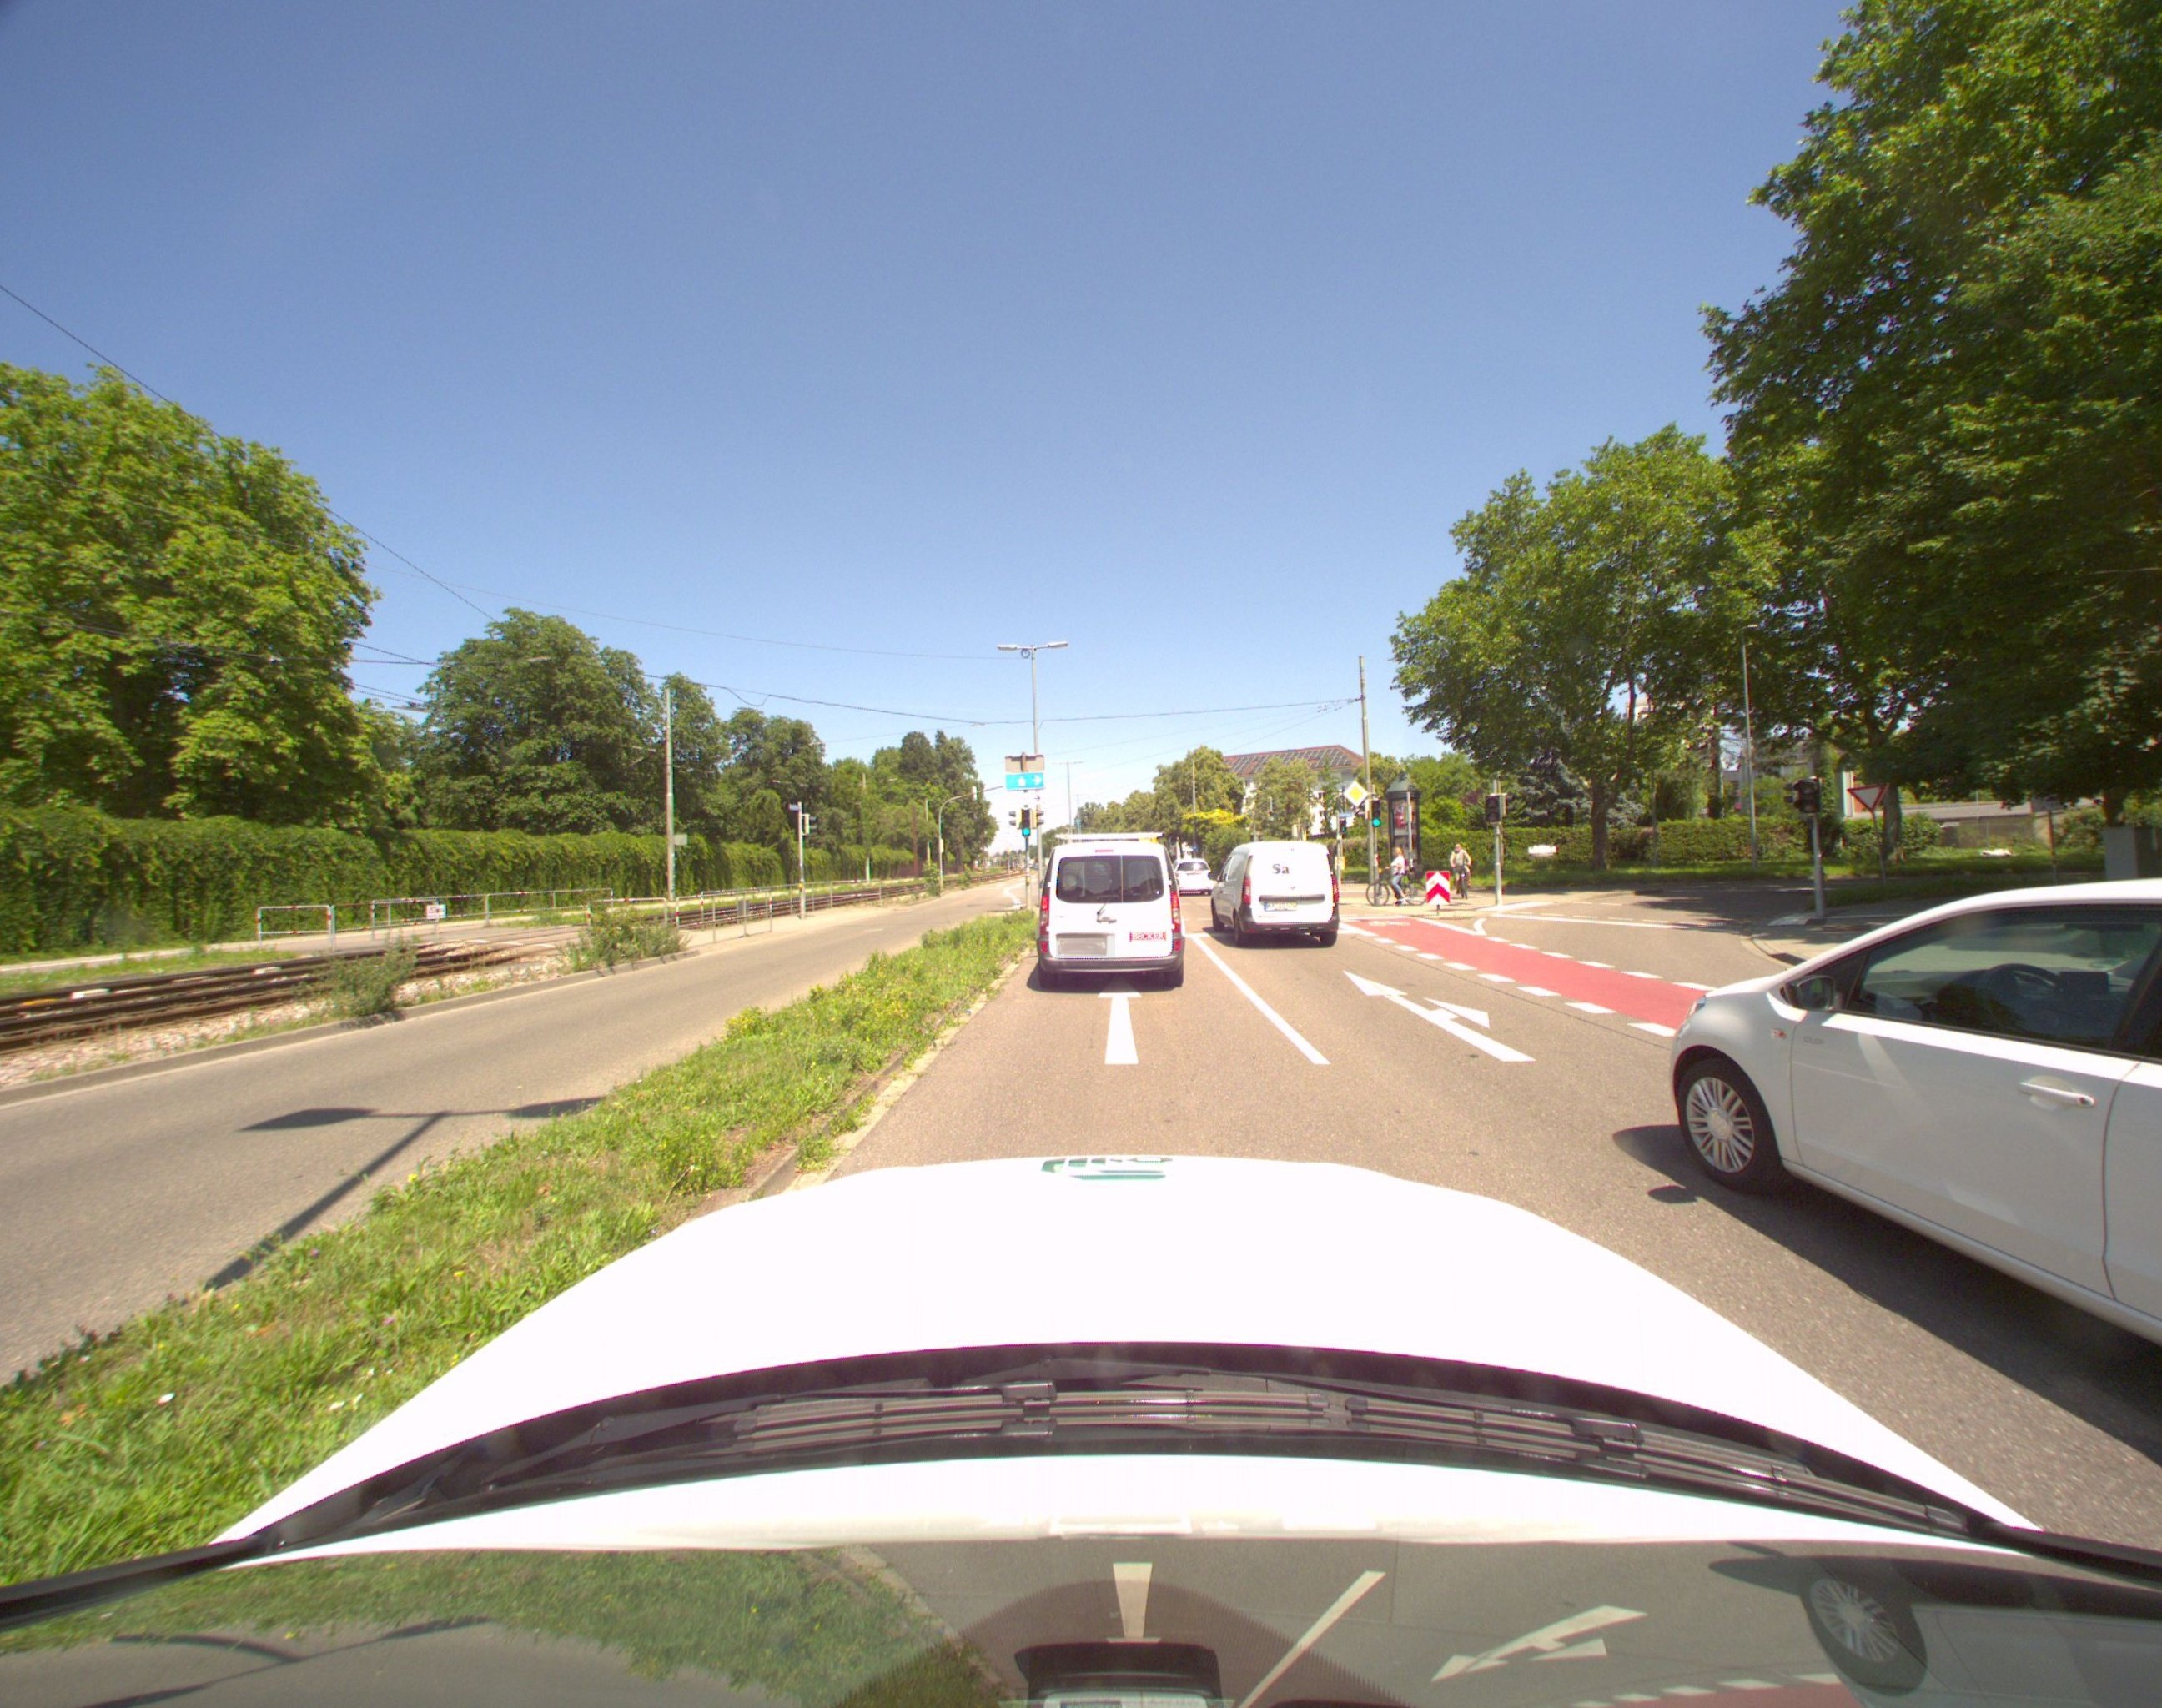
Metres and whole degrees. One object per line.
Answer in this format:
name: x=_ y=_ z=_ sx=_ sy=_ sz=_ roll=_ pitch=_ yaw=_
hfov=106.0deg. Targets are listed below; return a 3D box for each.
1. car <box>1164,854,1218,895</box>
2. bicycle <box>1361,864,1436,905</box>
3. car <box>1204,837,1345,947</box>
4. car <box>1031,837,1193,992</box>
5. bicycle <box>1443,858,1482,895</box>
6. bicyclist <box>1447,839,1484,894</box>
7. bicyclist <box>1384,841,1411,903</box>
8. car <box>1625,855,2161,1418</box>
car: x=4.551 y=0.807 z=34.127 sx=1.828 sy=1.568 sz=4.002 roll=0 pitch=0 yaw=2
bicycle: x=9.222 y=0.882 z=23.715 sx=1.855 sy=1.125 sz=0.897 roll=-1 pitch=-1 yaw=9
car: x=3.463 y=0.639 z=15.326 sx=1.721 sy=1.788 sz=4.064 roll=0 pitch=-1 yaw=1
car: x=0.413 y=0.695 z=11.361 sx=1.814 sy=1.740 sz=4.397 roll=0 pitch=0 yaw=2
bicycle: x=12.655 y=0.738 z=26.968 sx=0.883 sy=1.159 sz=1.968 roll=-2 pitch=-1 yaw=32
bicyclist: x=12.722 y=0.425 z=26.930 sx=0.964 sy=1.788 sz=0.731 roll=-2 pitch=-1 yaw=32
bicyclist: x=9.241 y=0.518 z=23.771 sx=0.573 sy=1.788 sz=0.770 roll=0 pitch=-1 yaw=9
car: x=3.622 y=0.735 z=2.585 sx=1.603 sy=1.447 sz=3.437 roll=0 pitch=0 yaw=2
